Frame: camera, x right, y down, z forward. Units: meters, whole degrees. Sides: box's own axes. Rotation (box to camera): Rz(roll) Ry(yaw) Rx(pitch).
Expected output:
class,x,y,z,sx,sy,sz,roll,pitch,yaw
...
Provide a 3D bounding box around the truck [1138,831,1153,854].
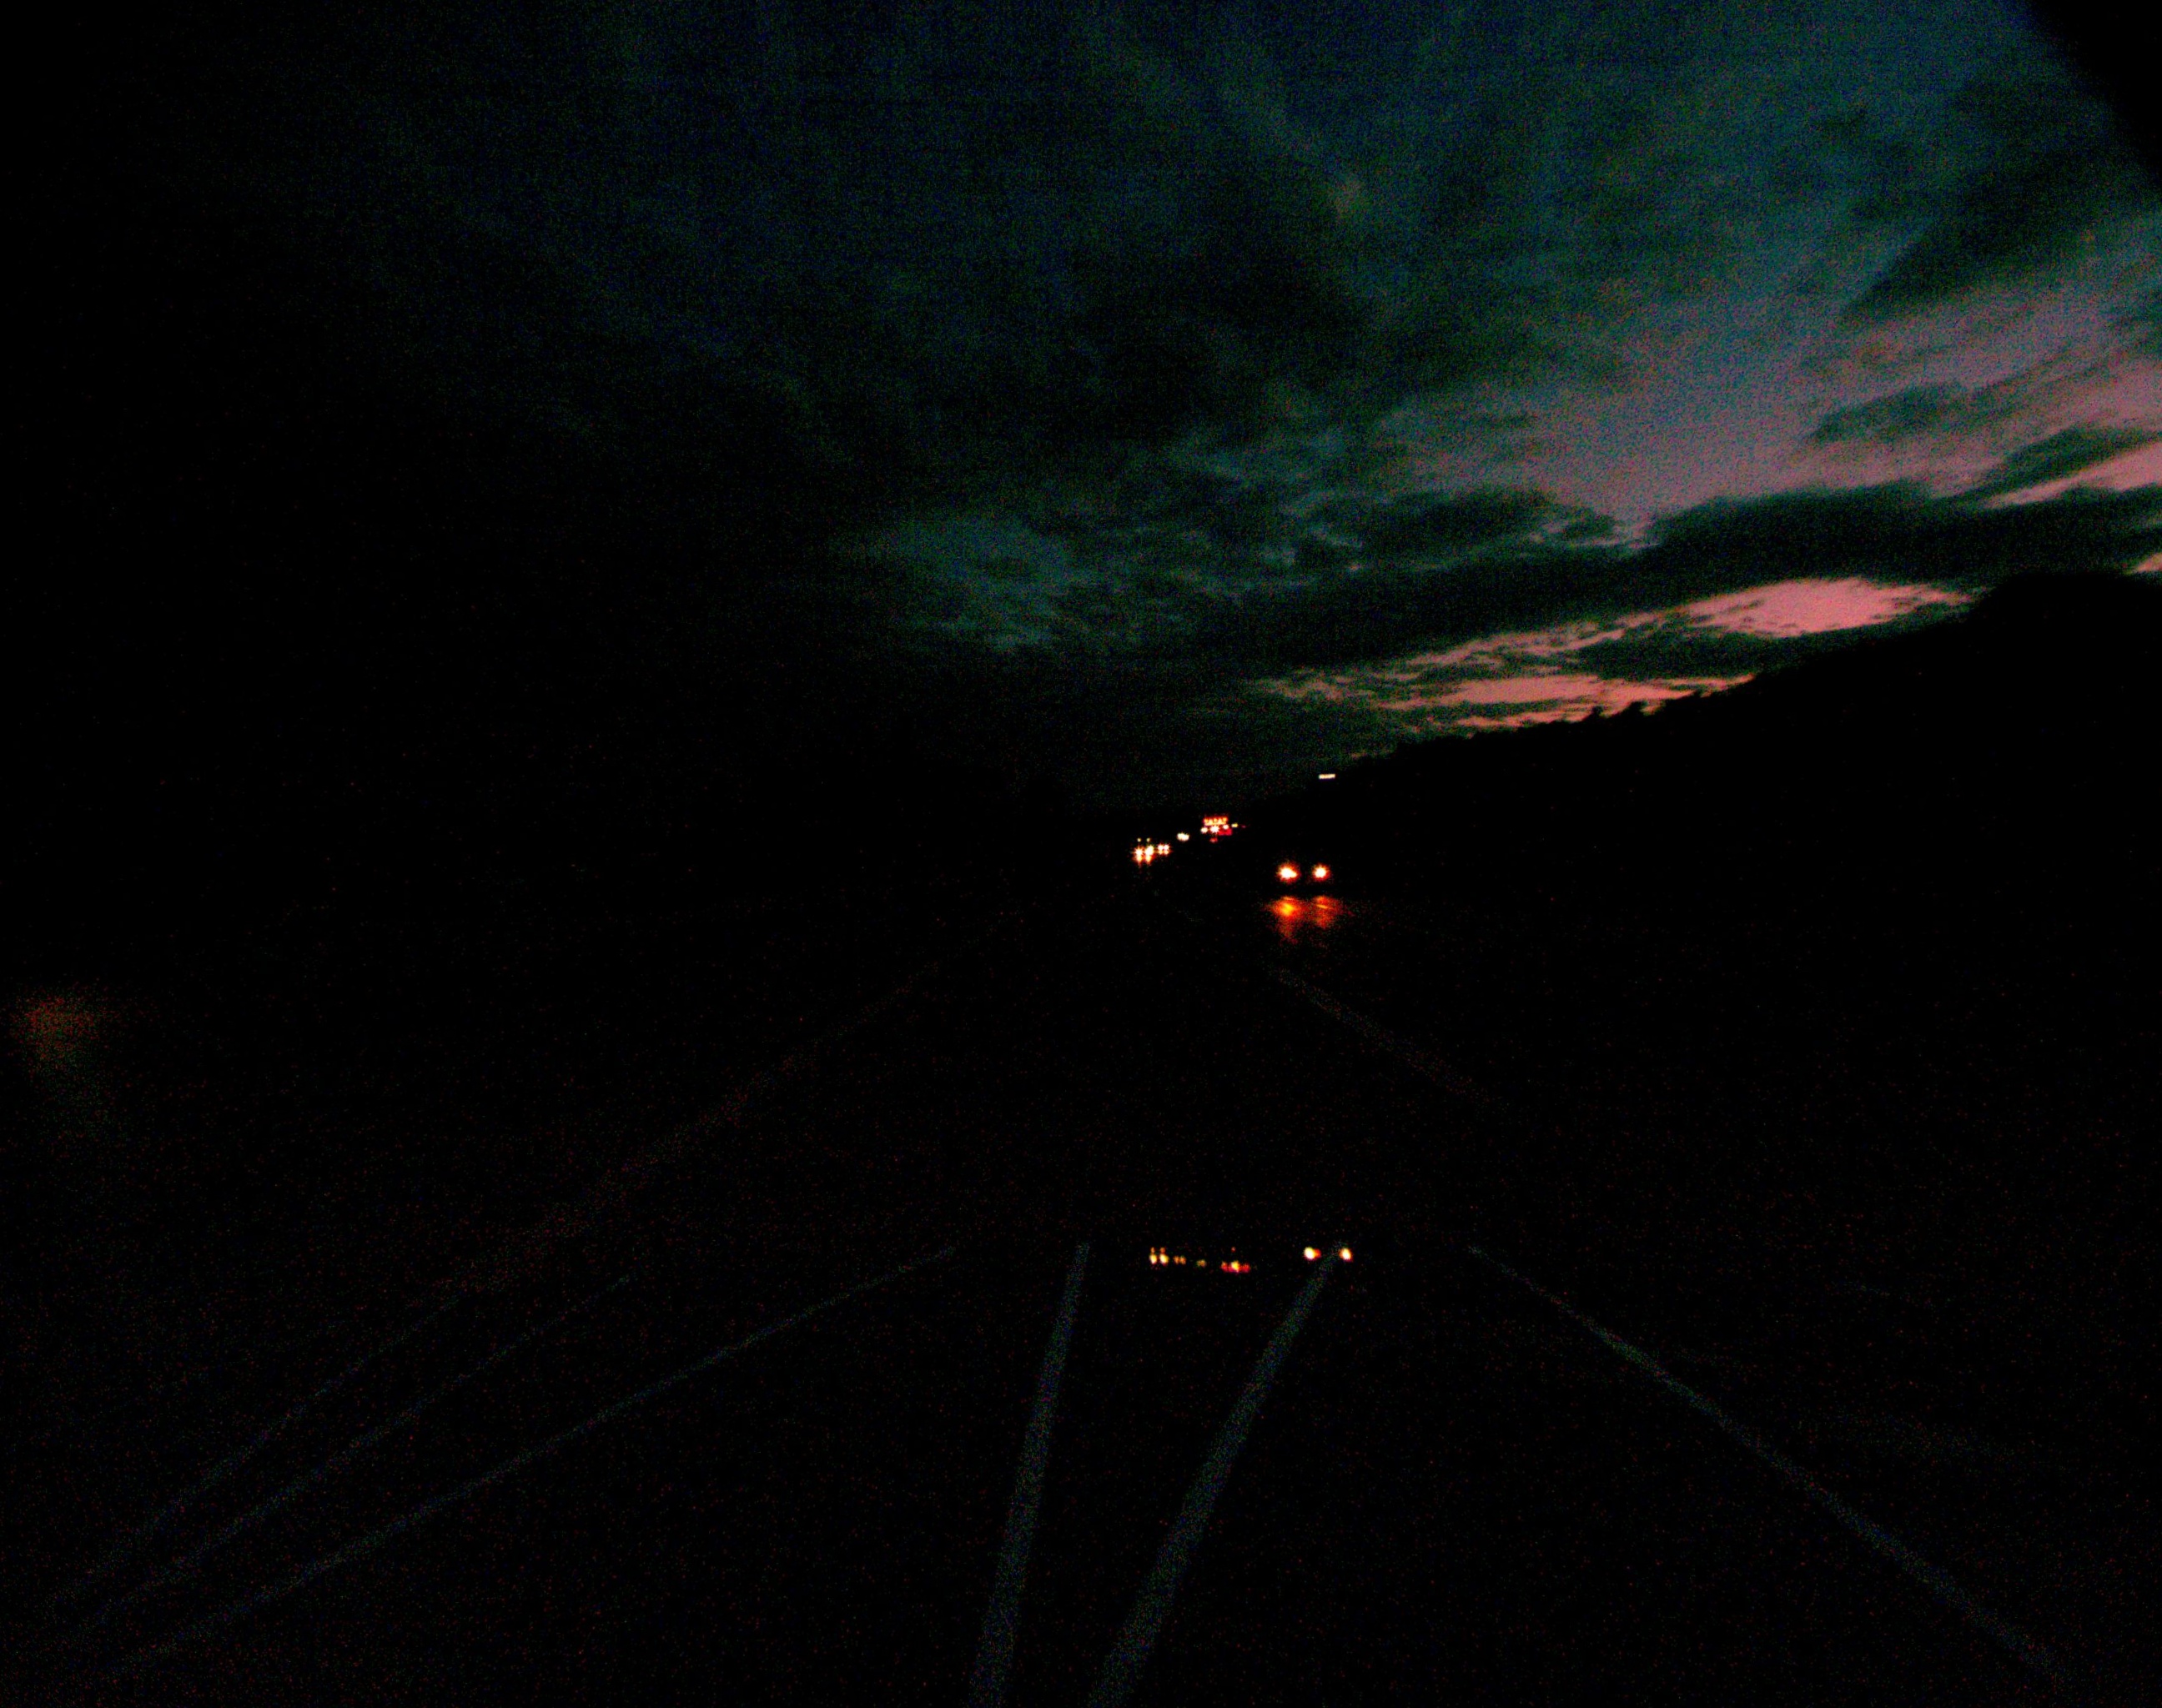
class,x,y,z,sx,sy,sz,roll,pitch,yaw
truck,13.940,-2.481,163.738,3.025,4.374,11.614,-3,3,6

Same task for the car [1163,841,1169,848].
class,x,y,z,sx,sy,sz,roll,pitch,yaw
car,23.350,-2.568,209.003,1.652,1.655,3.775,-3,3,6

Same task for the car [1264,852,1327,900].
class,x,y,z,sx,sy,sz,roll,pitch,yaw
car,8.361,0.811,29.913,1.716,1.472,4.000,-3,3,7
